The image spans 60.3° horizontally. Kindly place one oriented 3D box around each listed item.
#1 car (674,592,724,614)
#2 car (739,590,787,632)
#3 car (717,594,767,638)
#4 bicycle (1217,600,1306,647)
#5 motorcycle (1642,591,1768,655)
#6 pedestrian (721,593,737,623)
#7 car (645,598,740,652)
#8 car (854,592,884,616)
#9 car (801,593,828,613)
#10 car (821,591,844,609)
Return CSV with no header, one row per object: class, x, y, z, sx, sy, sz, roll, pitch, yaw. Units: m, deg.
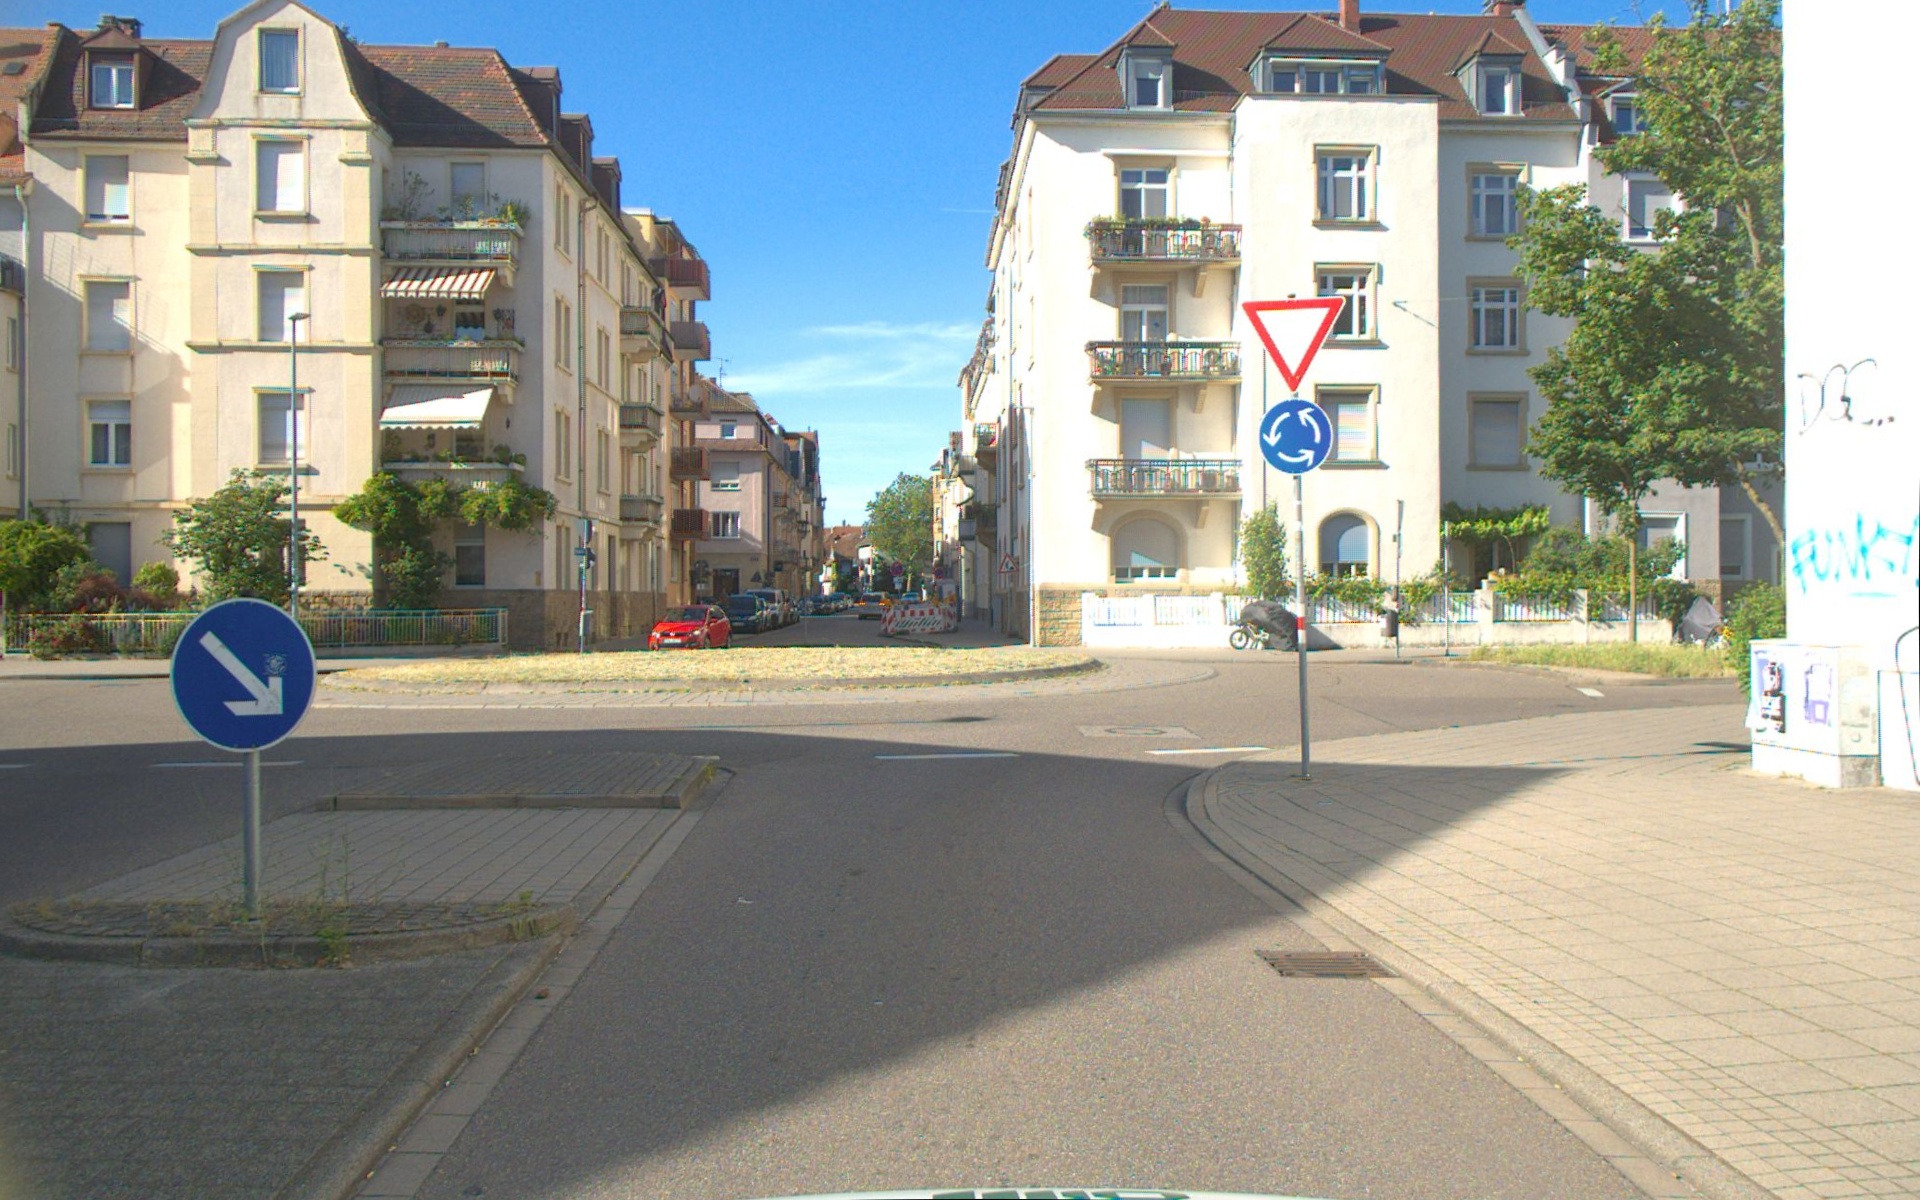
car,-18.292,0.194,115.829,3.472,1.464,1.693,2,1,44
car,-9.655,0.515,81.465,1.936,1.959,5.307,1,0,-2
car,-9.219,0.634,70.163,1.727,1.802,4.292,1,0,-2
bicycle,7.958,0.613,43.682,2.244,1.178,0.762,1,0,41
motorcycle,15.691,0.472,34.938,1.102,1.290,2.778,0,0,-9
pedestrian,-14.334,0.508,102.500,0.906,1.849,0.993,1,0,-6
car,-7.830,0.715,48.797,1.675,1.406,4.004,-2,1,7
car,-5.855,0.282,106.669,1.801,1.456,4.027,-1,-1,-2
car,-11.095,0.242,126.036,1.645,1.451,4.273,2,-1,0
car,-12.137,0.002,157.415,1.964,1.647,4.484,2,-1,-3
